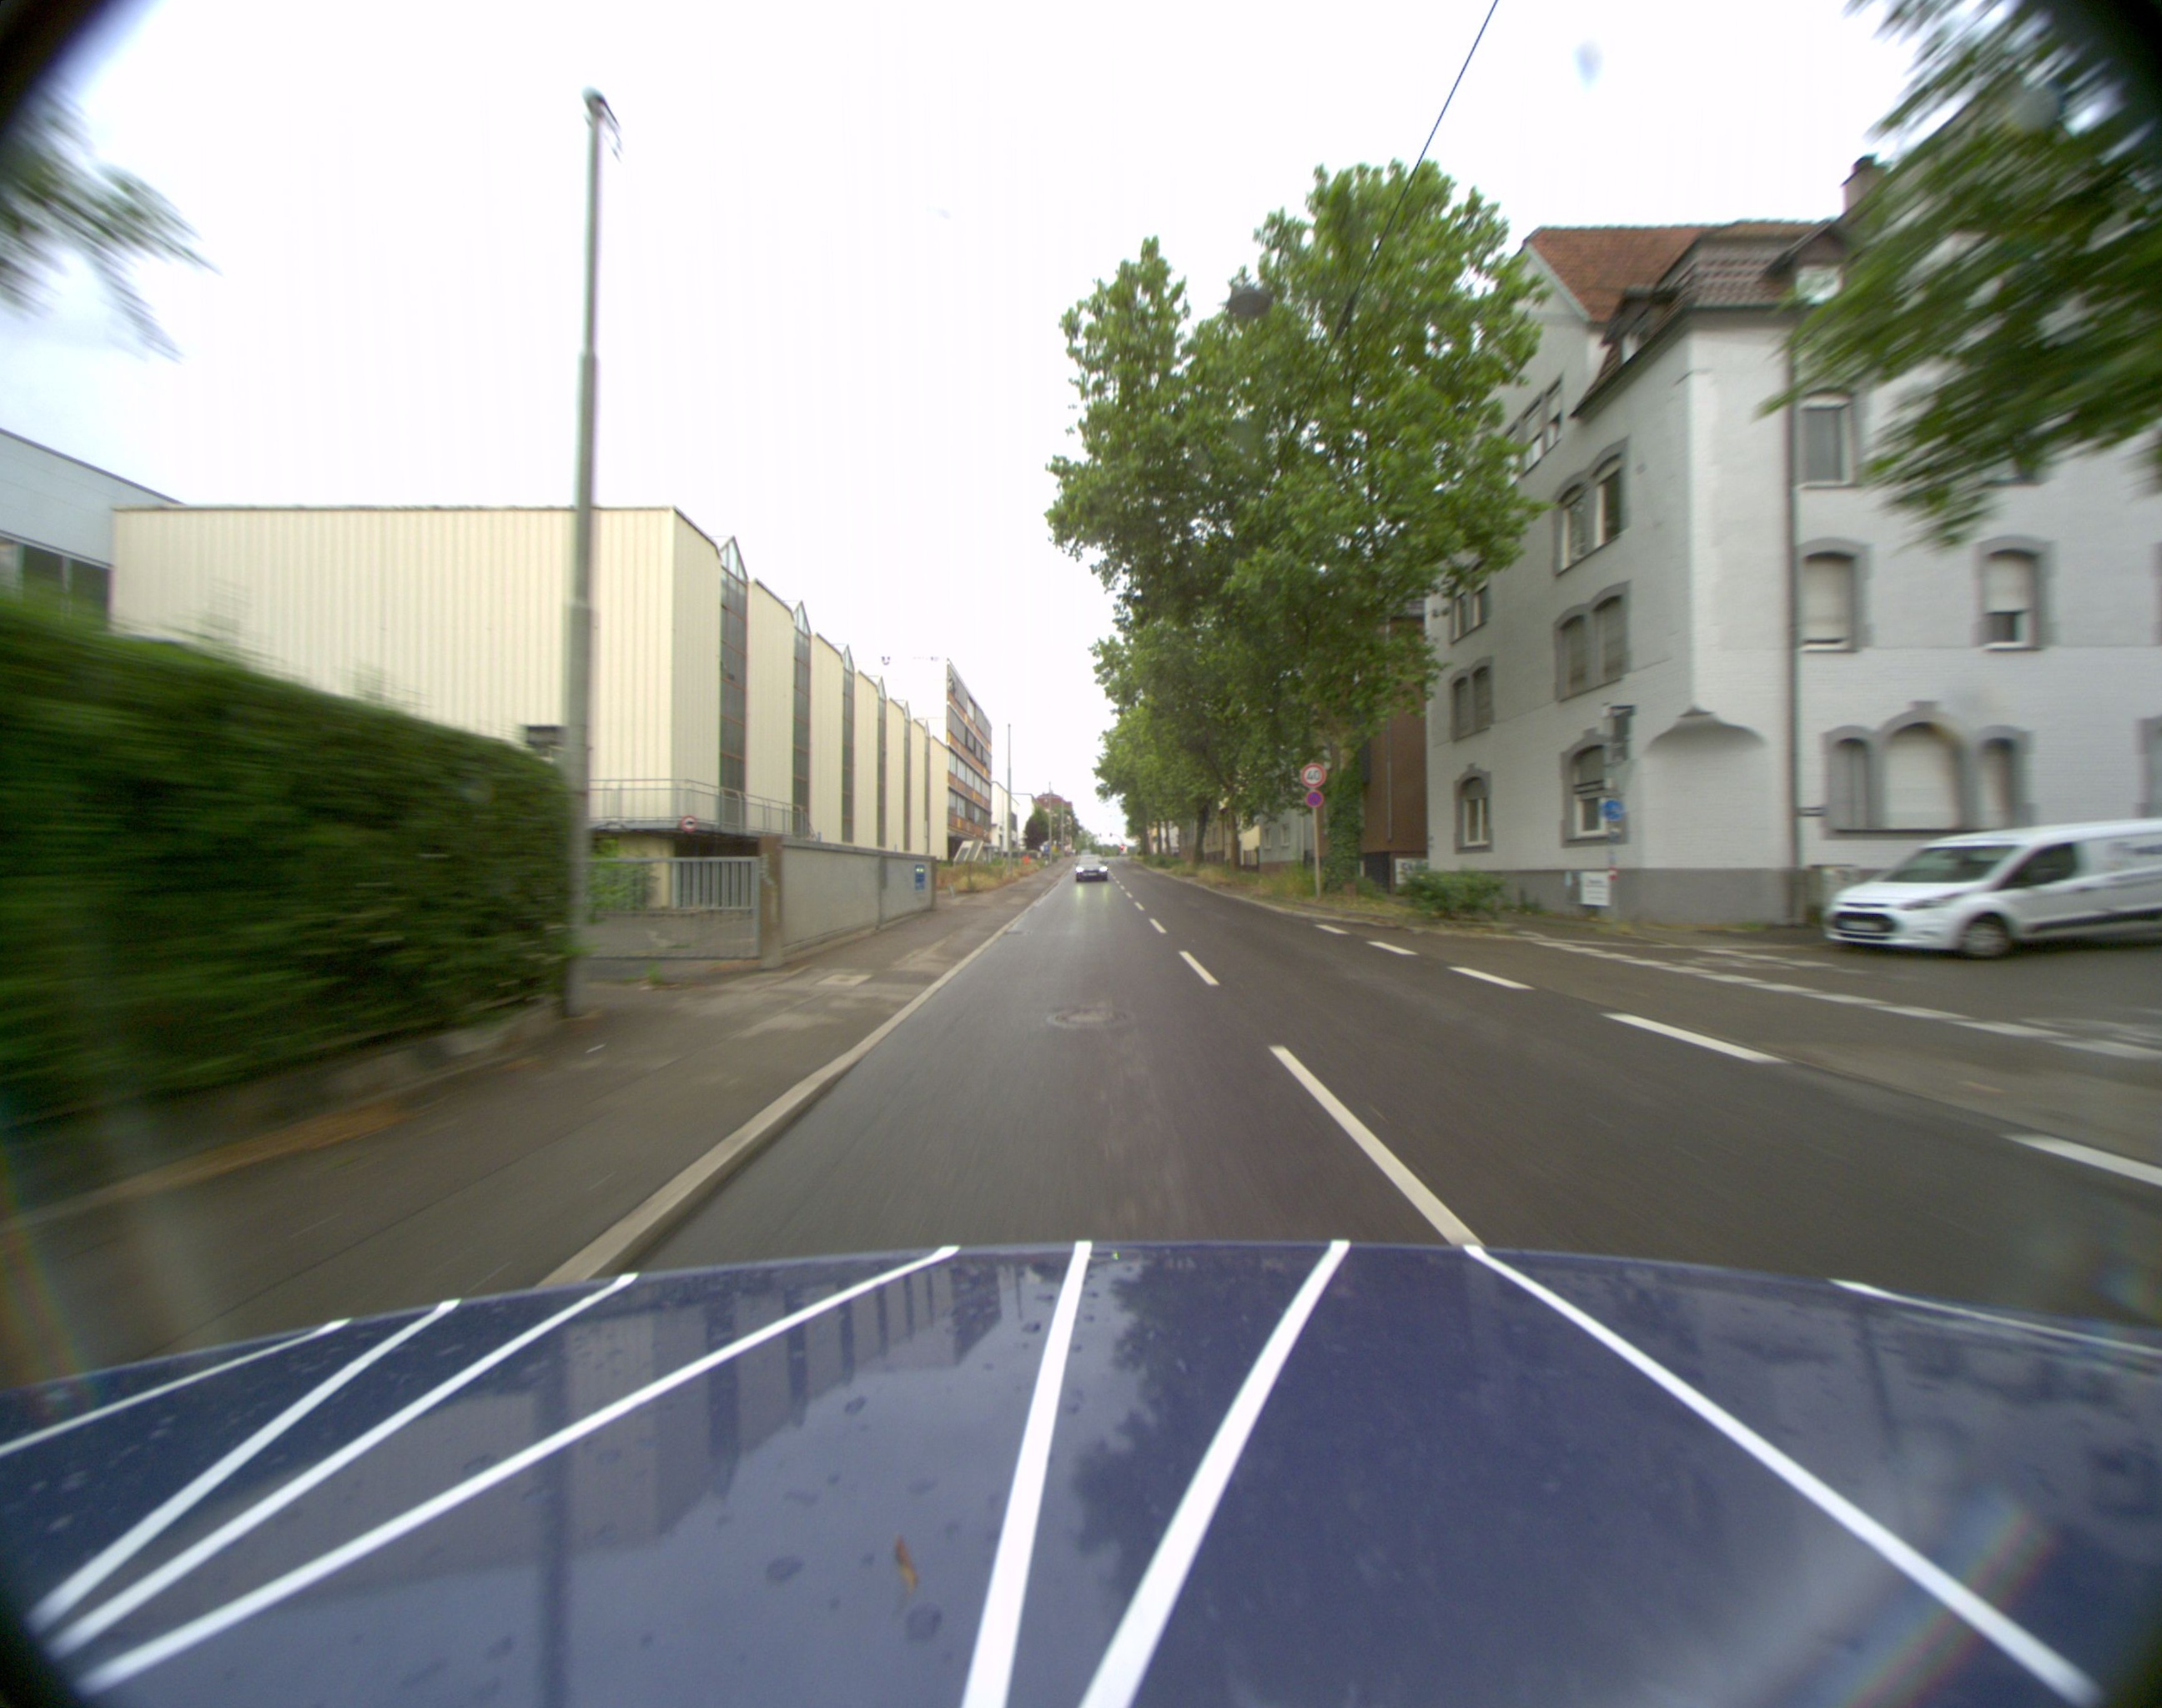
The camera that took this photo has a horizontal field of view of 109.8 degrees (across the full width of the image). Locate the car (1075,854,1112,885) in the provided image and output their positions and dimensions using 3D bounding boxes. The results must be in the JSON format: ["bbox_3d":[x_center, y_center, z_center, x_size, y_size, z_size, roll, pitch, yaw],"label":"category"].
[{"bbox_3d":[0.672,0.826,42.349,1.949,1.644,3.859,-1,0,0],"label":"car"}]

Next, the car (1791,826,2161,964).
[{"bbox_3d":[14.137,0.554,11.586,4.682,1.768,2.020,-2,1,0],"label":"car"}]

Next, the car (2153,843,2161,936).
[{"bbox_3d":[19.178,0.414,11.234,3.997,1.478,1.793,-4,0,1],"label":"car"}]
